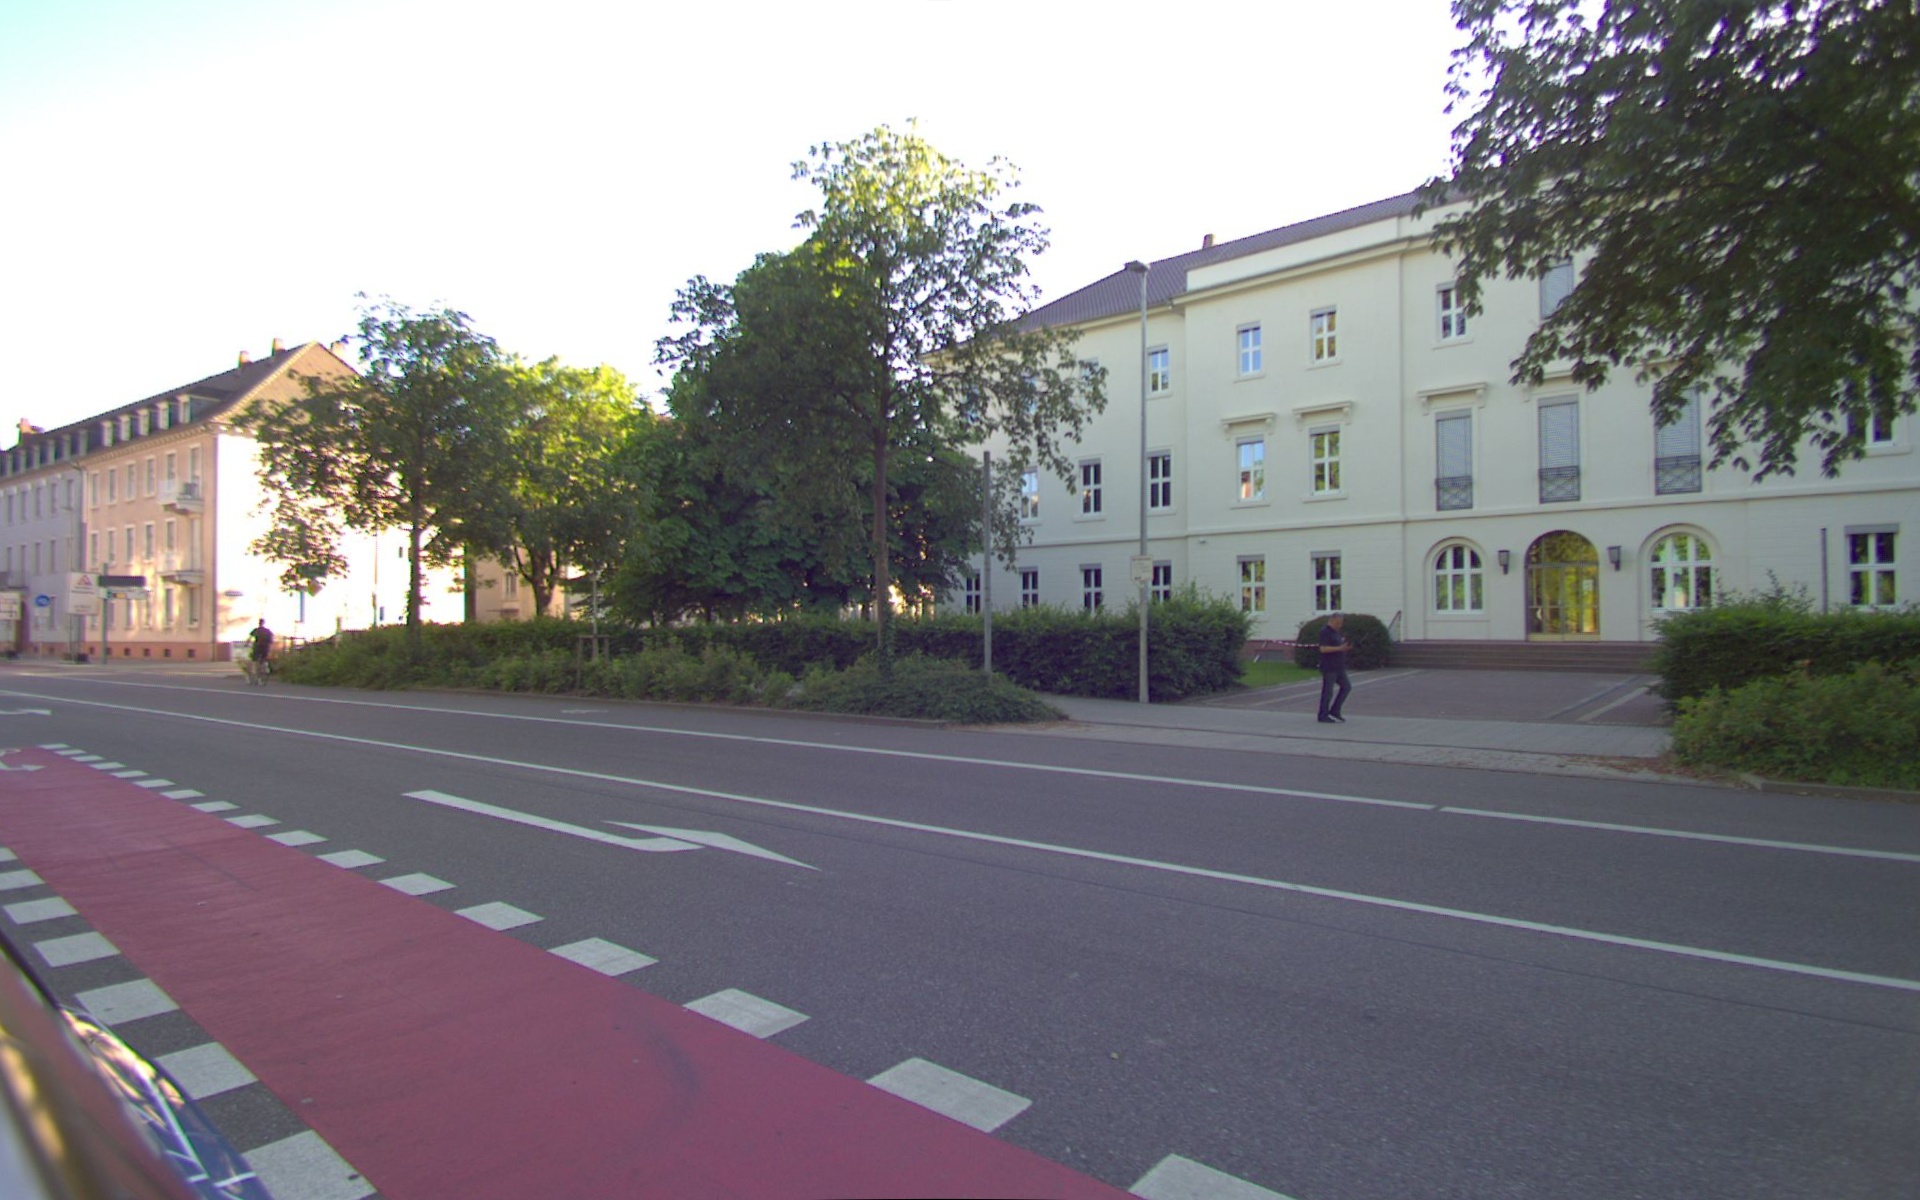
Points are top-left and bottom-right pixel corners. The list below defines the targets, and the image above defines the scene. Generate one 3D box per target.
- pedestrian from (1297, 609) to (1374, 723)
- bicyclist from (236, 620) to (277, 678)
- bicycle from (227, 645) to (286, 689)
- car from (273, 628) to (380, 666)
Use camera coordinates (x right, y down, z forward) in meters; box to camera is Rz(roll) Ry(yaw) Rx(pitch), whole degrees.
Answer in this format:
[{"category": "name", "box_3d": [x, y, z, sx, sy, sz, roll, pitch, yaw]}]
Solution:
[{"category": "pedestrian", "box_3d": [5.991, 1.032, 16.132, 0.966, 1.733, 0.827, -2, -3, 35]}, {"category": "bicyclist", "box_3d": [-19.748, 1.373, 28.393, 0.837, 1.574, 0.683, -2, -3, 38]}, {"category": "bicycle", "box_3d": [-19.710, 1.860, 28.336, 2.242, 1.168, 0.688, -2, -3, 38]}, {"category": "car", "box_3d": [-30.517, 2.217, 48.854, 1.993, 1.674, 3.958, -1, -1, 31]}]
